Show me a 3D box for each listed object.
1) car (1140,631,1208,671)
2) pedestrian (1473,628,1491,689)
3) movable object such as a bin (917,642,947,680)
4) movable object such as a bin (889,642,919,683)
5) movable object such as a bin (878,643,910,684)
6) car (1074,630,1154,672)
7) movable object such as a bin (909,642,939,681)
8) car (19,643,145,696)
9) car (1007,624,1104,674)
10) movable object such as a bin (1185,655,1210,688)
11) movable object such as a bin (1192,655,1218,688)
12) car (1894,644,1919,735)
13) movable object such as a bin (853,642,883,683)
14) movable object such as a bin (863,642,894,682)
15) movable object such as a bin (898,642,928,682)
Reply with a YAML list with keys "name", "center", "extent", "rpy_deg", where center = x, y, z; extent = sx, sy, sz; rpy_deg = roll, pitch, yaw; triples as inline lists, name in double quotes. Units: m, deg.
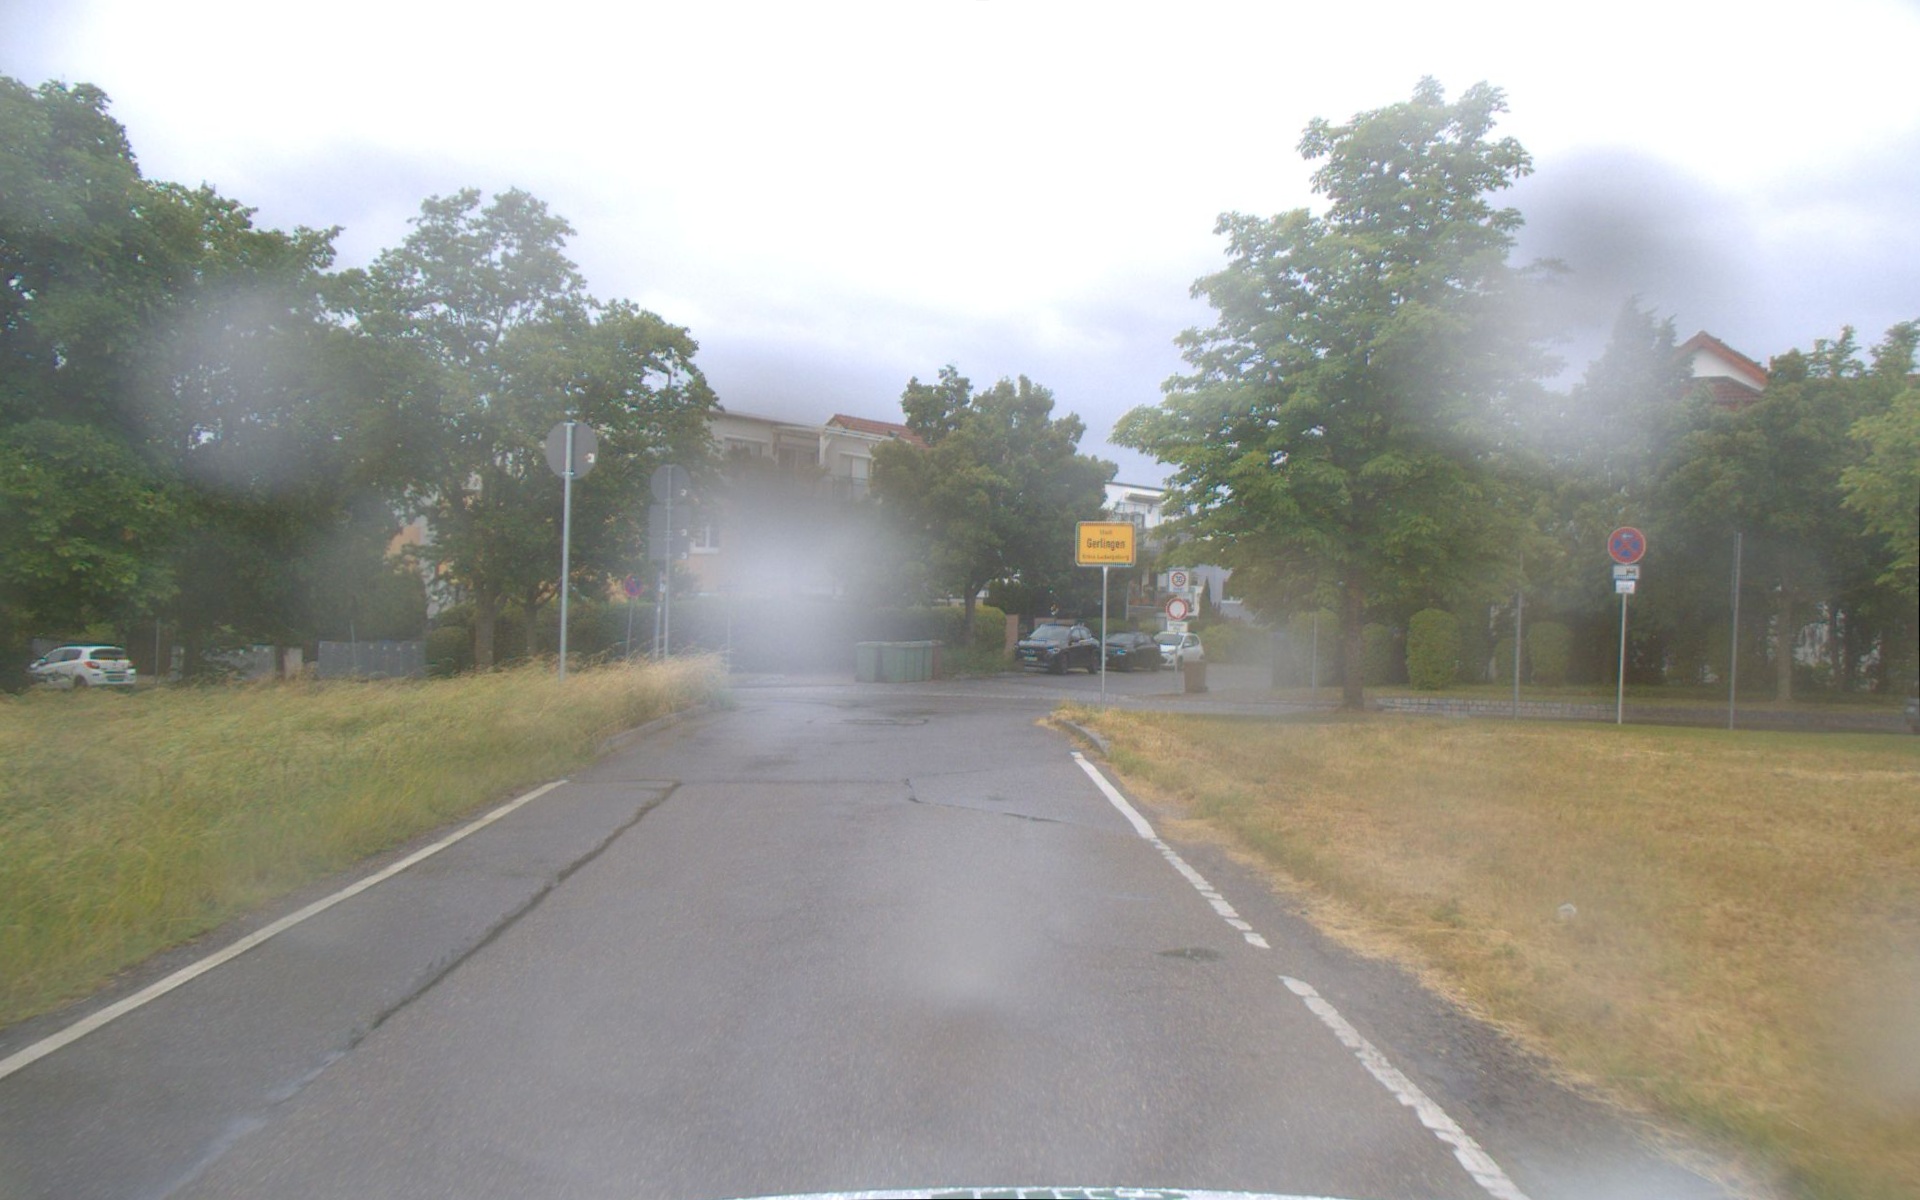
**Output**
- name: "car"
  center: [8.550, 2.033, 65.919]
  extent: [1.483, 1.502, 3.267]
  rpy_deg: [3, 0, 30]
- name: "pedestrian"
  center: [17.703, 1.979, 56.072]
  extent: [0.546, 2.049, 0.524]
  rpy_deg: [0, -1, 24]
- name: "movable object such as a bin"
  center: [-0.811, 1.739, 47.394]
  extent: [0.680, 1.073, 0.605]
  rpy_deg: [0, -1, 19]
- name: "movable object such as a bin"
  center: [-1.541, 1.724, 45.575]
  extent: [0.680, 1.093, 0.544]
  rpy_deg: [0, -1, 19]
- name: "movable object such as a bin"
  center: [-1.787, 1.723, 44.963]
  extent: [0.680, 1.093, 0.602]
  rpy_deg: [0, -1, 19]
- name: "car"
  center: [5.754, 1.895, 61.537]
  extent: [1.604, 1.433, 3.599]
  rpy_deg: [3, 0, 29]
- name: "movable object such as a bin"
  center: [-1.020, 1.732, 46.721]
  extent: [0.680, 1.073, 0.605]
  rpy_deg: [0, -1, 19]
- name: "car"
  center: [-26.715, 2.120, 50.318]
  extent: [3.642, 1.529, 1.608]
  rpy_deg: [-2, -3, 28]
- name: "car"
  center: [3.296, 1.676, 56.390]
  extent: [1.741, 1.545, 4.132]
  rpy_deg: [3, 0, 27]
- name: "movable object such as a bin"
  center: [6.998, 2.105, 48.735]
  extent: [0.560, 0.947, 0.529]
  rpy_deg: [1, -2, 32]
- name: "movable object such as a bin"
  center: [7.291, 2.124, 49.216]
  extent: [0.560, 0.947, 0.529]
  rpy_deg: [1, -2, 32]
- name: "car"
  center: [17.784, 1.533, 27.679]
  extent: [3.468, 1.505, 1.680]
  rpy_deg: [1, -2, 17]
- name: "movable object such as a bin"
  center: [-2.501, 1.715, 45.180]
  extent: [0.651, 1.092, 0.544]
  rpy_deg: [0, -1, 20]
- name: "movable object such as a bin"
  center: [-2.257, 1.707, 45.767]
  extent: [0.680, 1.091, 0.598]
  rpy_deg: [0, -1, 19]
- name: "movable object such as a bin"
  center: [-1.306, 1.729, 46.159]
  extent: [0.680, 1.086, 0.579]
  rpy_deg: [0, -1, 19]
